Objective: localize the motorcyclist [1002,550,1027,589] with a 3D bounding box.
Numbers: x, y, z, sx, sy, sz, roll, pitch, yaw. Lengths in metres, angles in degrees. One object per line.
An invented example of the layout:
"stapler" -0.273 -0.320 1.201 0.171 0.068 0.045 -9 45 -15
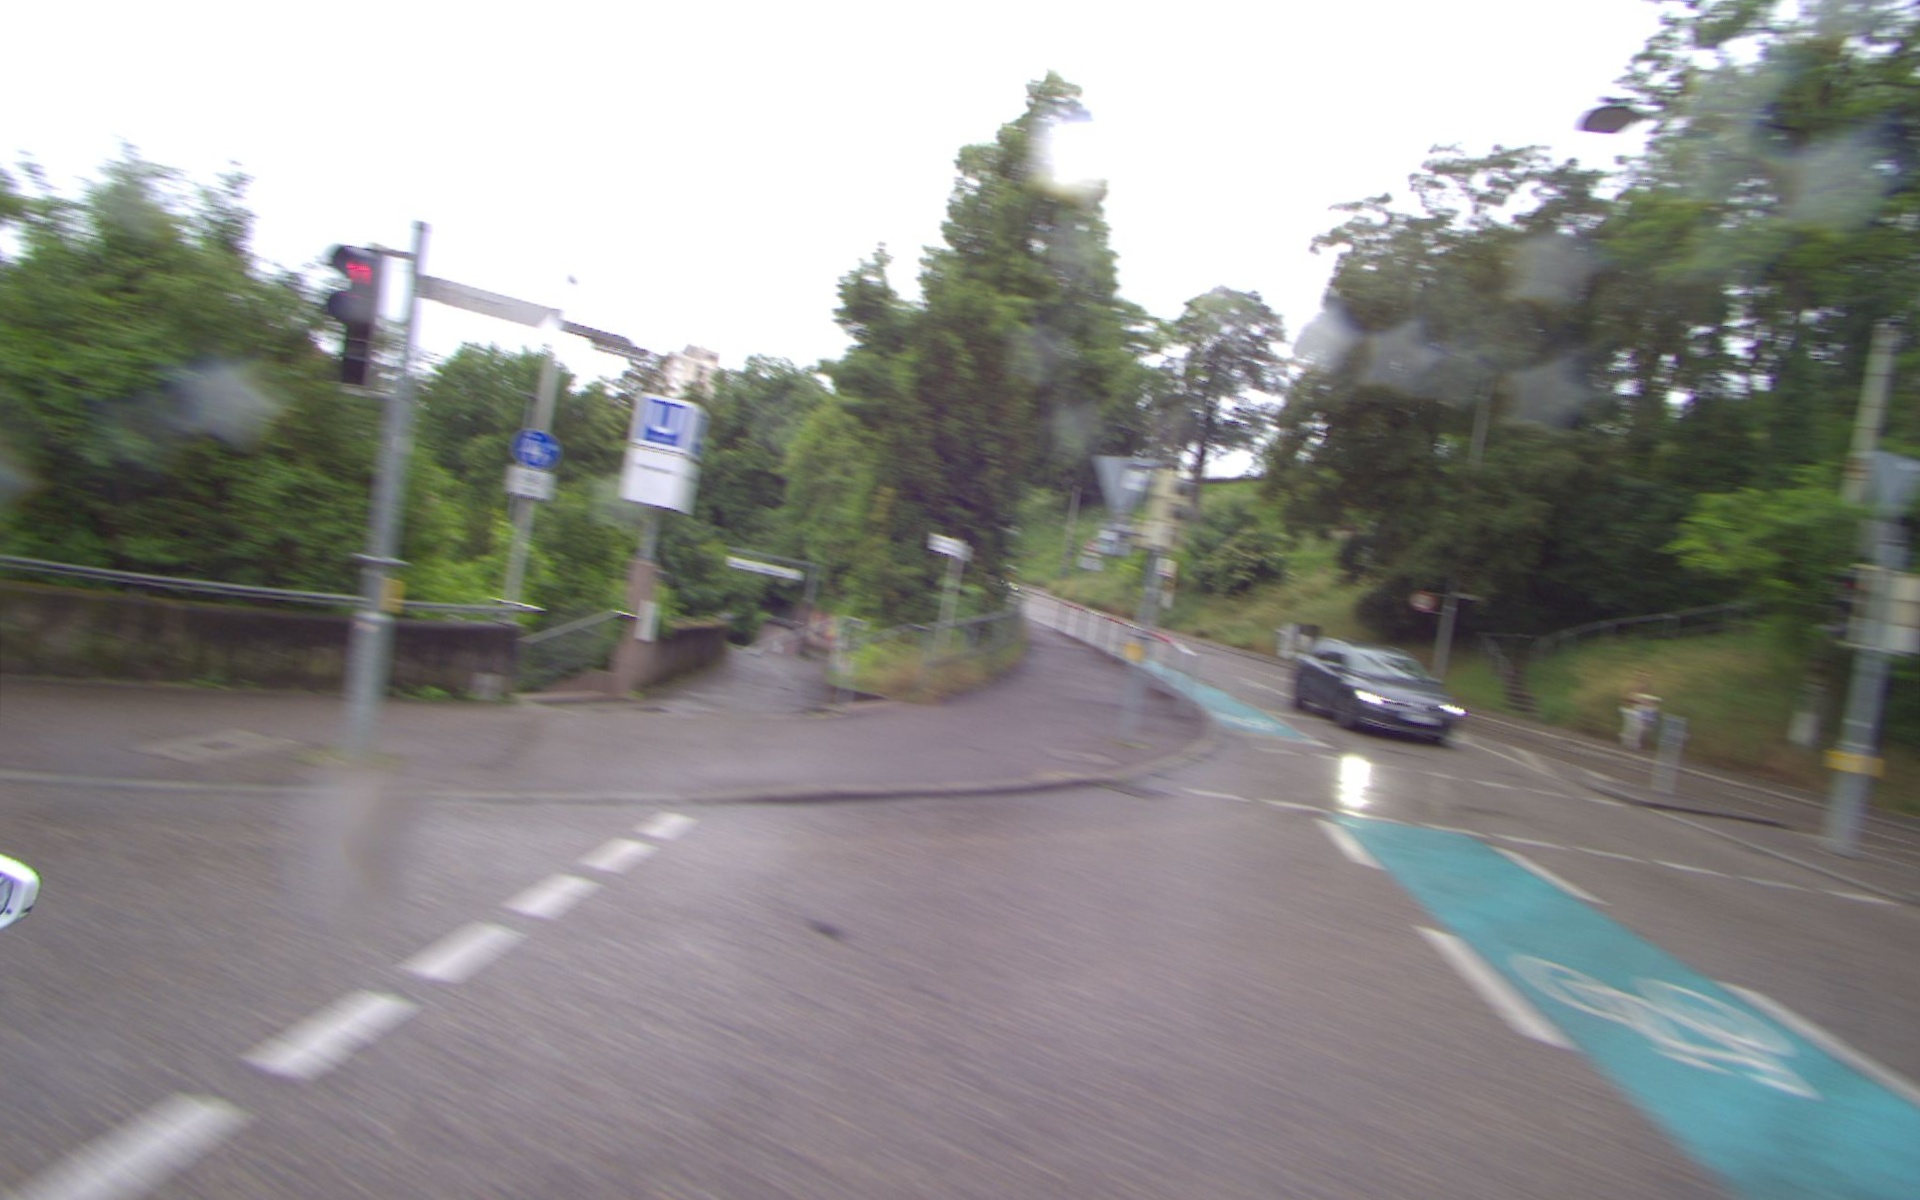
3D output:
"motorcyclist" 2.929 -1.644 53.925 0.872 1.899 1.251 9 4 -7

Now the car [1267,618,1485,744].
"car" 7.384 1.346 18.466 1.854 1.541 4.687 8 2 0

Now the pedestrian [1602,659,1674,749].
"pedestrian" 14.932 2.279 22.174 0.638 1.776 0.797 10 4 -6
